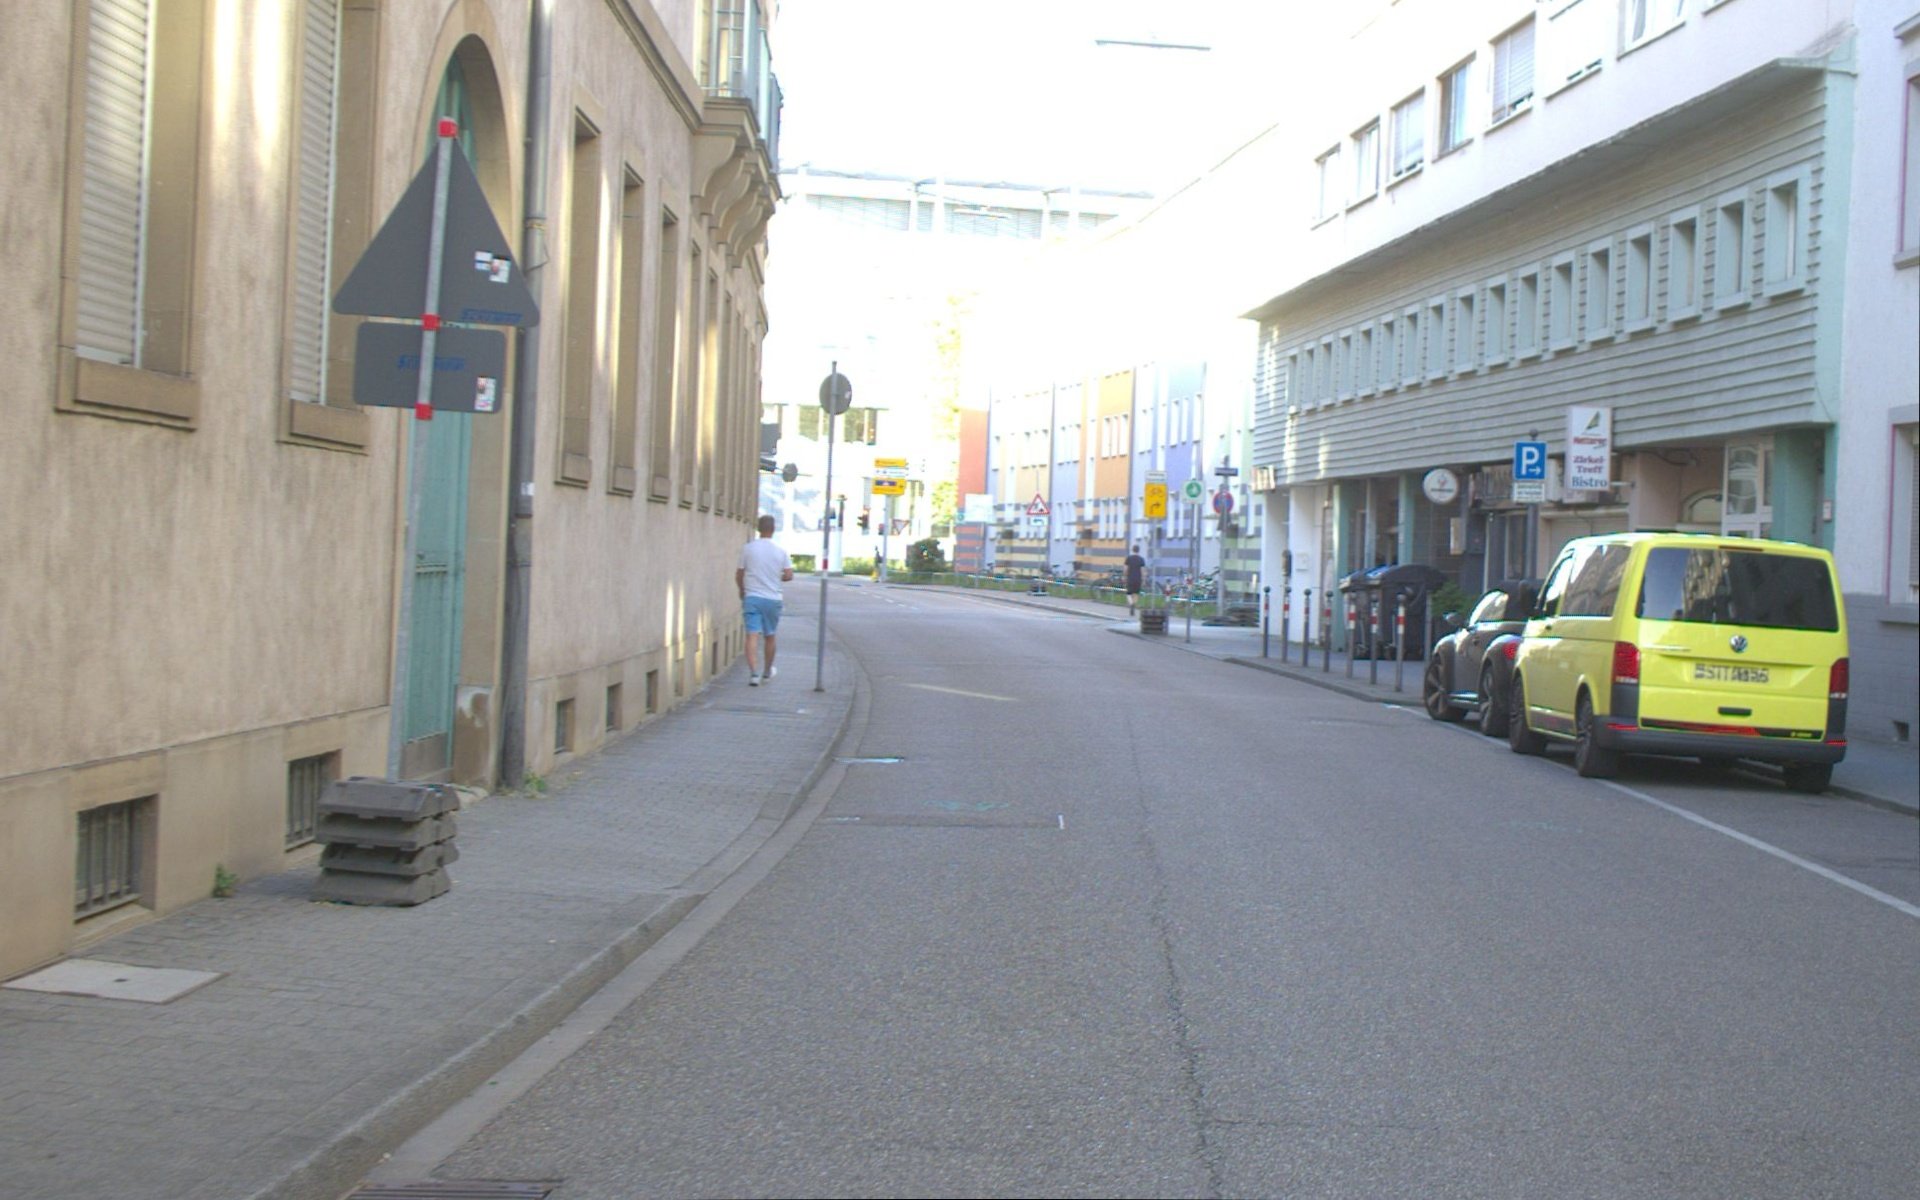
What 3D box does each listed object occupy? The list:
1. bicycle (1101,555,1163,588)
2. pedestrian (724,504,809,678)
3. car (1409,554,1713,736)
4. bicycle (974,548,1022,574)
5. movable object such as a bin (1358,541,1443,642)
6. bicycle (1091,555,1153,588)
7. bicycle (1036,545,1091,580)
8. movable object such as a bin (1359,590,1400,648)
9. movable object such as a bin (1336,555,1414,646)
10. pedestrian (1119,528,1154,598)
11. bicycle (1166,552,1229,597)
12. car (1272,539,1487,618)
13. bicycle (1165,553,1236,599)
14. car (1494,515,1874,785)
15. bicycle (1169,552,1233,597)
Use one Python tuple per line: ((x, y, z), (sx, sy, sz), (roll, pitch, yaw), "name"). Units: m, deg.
((5.110, -0.862, 102.332), (1.748, 0.943, 0.552), (1, 0, -5), "bicycle")
((-1.924, -0.096, 34.233), (0.693, 1.664, 0.875), (4, 1, -1), "pedestrian")
((5.661, 0.373, 32.925), (1.883, 1.484, 4.369), (3, 1, -3), "car")
((1.468, -1.496, 132.351), (1.753, 1.000, 0.613), (1, 0, -10), "bicycle")
((6.639, -0.118, 51.876), (0.981, 1.475, 1.551), (1, -1, -3), "movable object such as a bin")
((4.781, -0.853, 101.615), (1.748, 0.943, 0.552), (1, 0, -5), "bicycle")
((3.559, -1.290, 118.272), (1.810, 1.133, 0.552), (2, 0, -7), "bicycle")
((6.640, 0.305, 54.419), (0.556, 0.896, 0.523), (1, -1, -3), "movable object such as a bin")
((6.439, 0.020, 53.381), (0.981, 1.380, 1.321), (1, -1, -3), "movable object such as a bin")
((4.437, -0.943, 86.437), (0.696, 1.754, 1.189), (0, 1, -5), "pedestrian")
((6.178, -0.660, 89.440), (1.602, 1.137, 0.237), (-1, 2, -13), "bicycle")
((8.721, -0.462, 71.665), (4.077, 1.477, 1.866), (2, 1, -5), "car")
((6.138, -0.622, 87.746), (1.748, 1.137, 0.552), (-1, 2, -5), "bicycle")
((5.679, 0.314, 27.607), (1.883, 1.875, 4.846), (3, 1, -1), "car")
((6.245, -0.655, 89.172), (1.640, 1.137, 0.283), (-1, 2, -13), "bicycle")
